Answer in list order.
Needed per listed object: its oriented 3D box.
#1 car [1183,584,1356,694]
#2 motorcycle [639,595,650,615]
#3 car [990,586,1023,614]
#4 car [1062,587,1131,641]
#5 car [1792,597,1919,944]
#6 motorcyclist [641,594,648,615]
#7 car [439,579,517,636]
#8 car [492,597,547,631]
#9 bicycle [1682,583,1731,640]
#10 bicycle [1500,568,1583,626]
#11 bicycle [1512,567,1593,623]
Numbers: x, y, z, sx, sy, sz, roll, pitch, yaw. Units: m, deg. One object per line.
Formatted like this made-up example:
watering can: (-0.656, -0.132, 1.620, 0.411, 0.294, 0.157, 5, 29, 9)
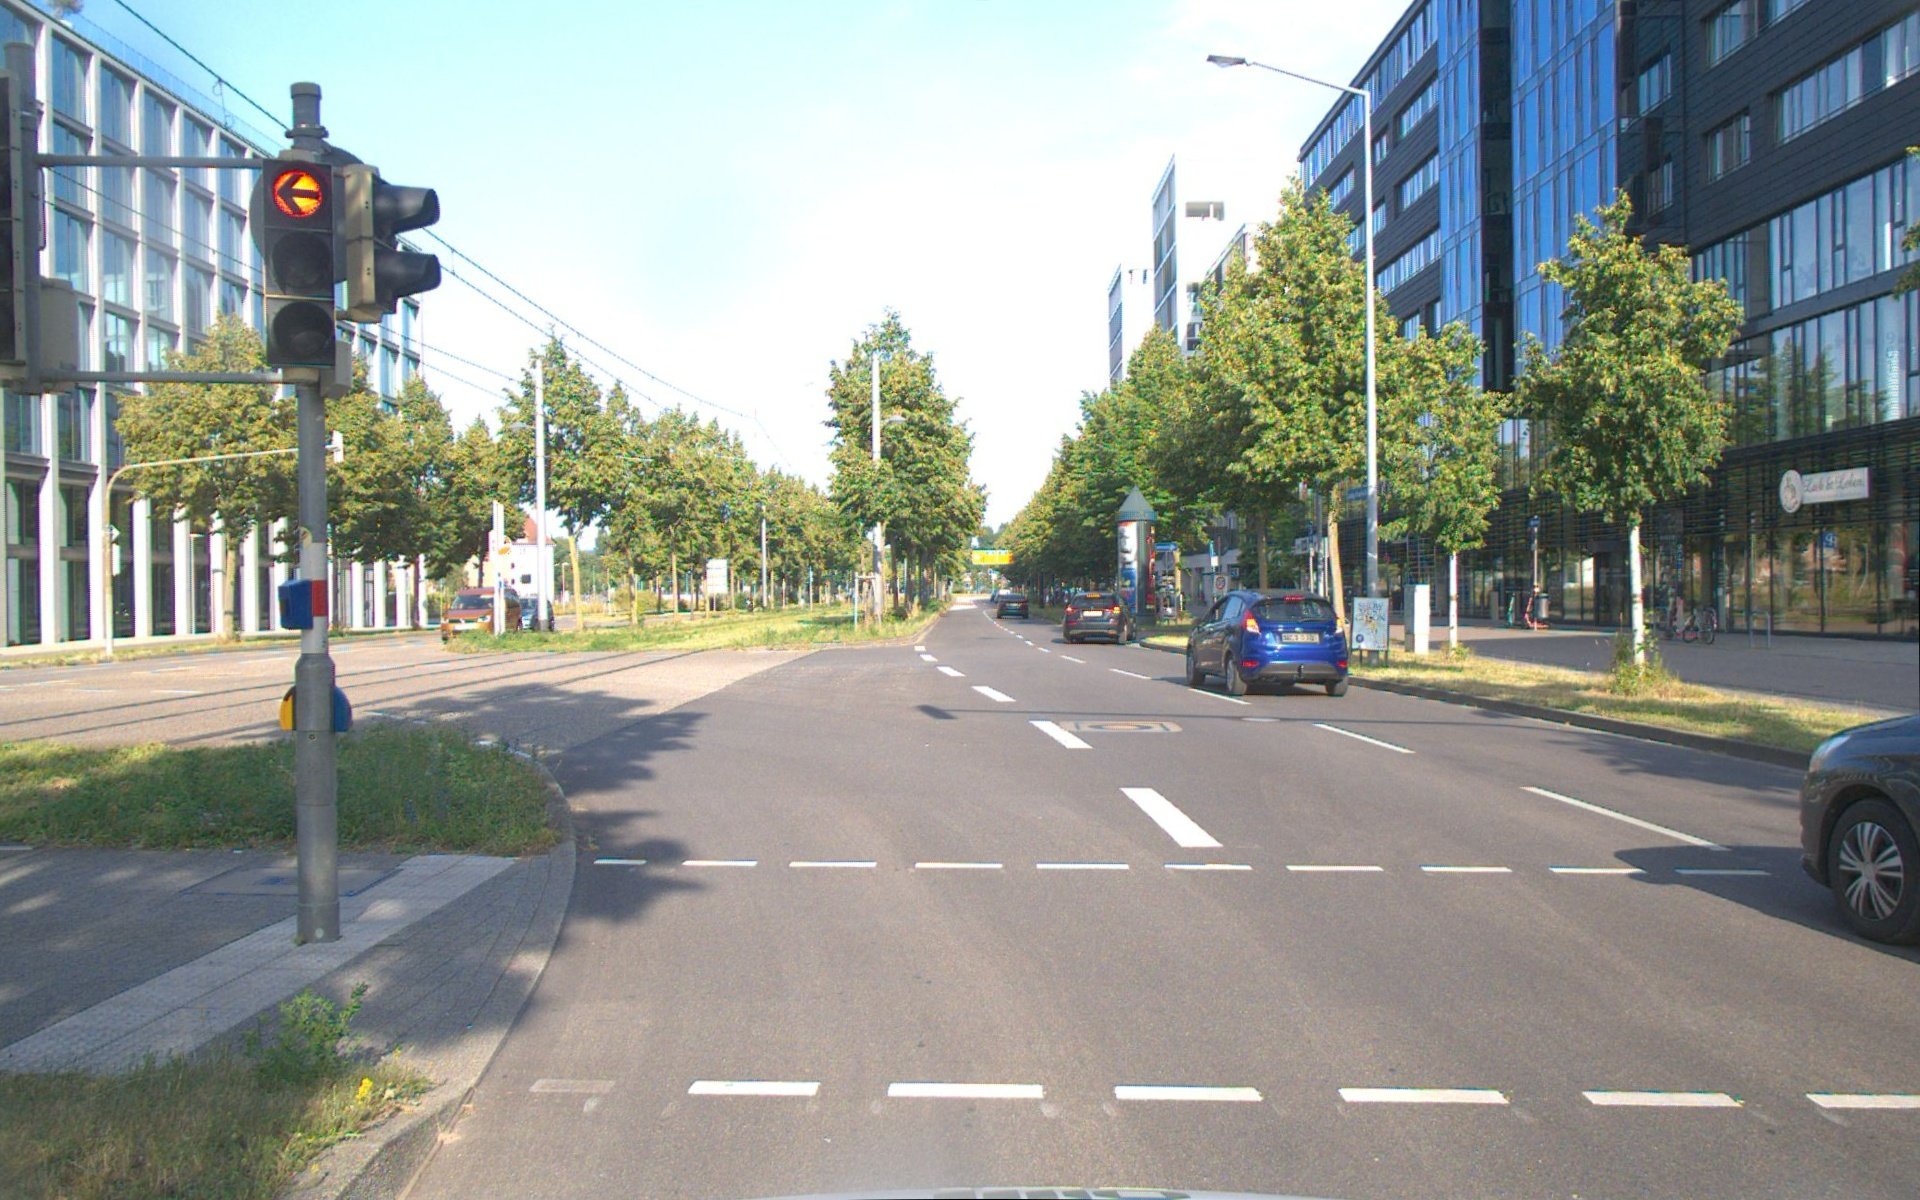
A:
car: (4.426, 0.507, 24.212, 1.529, 1.449, 3.904, 1, 1, -4)
motorcycle: (-24.475, 0.381, 128.270, 0.464, 1.557, 1.992, 1, 0, -1)
car: (2.726, -0.002, 97.641, 1.821, 1.551, 3.785, 1, 0, 0)
car: (3.911, 0.391, 46.993, 1.736, 1.449, 3.964, 1, 0, 7)
car: (4.953, 0.729, 5.895, 1.661, 1.449, 4.035, 1, 0, -5)
motorcyclist: (-24.472, 0.371, 128.280, 0.476, 1.592, 0.455, 1, 0, -1)
car: (-16.023, 0.245, 55.109, 1.651, 1.806, 3.880, 1, 0, -4)
car: (-19.586, 0.594, 73.695, 1.606, 1.468, 3.953, 1, 0, -4)
bicycle: (18.484, 0.284, 40.968, 0.365, 1.370, 1.894, 1, 0, 1)
bicycle: (19.272, -0.104, 54.828, 2.510, 1.890, 0.570, 1, 0, 10)
bicycle: (19.269, -0.171, 53.798, 2.383, 1.776, 0.554, 1, 0, 10)
